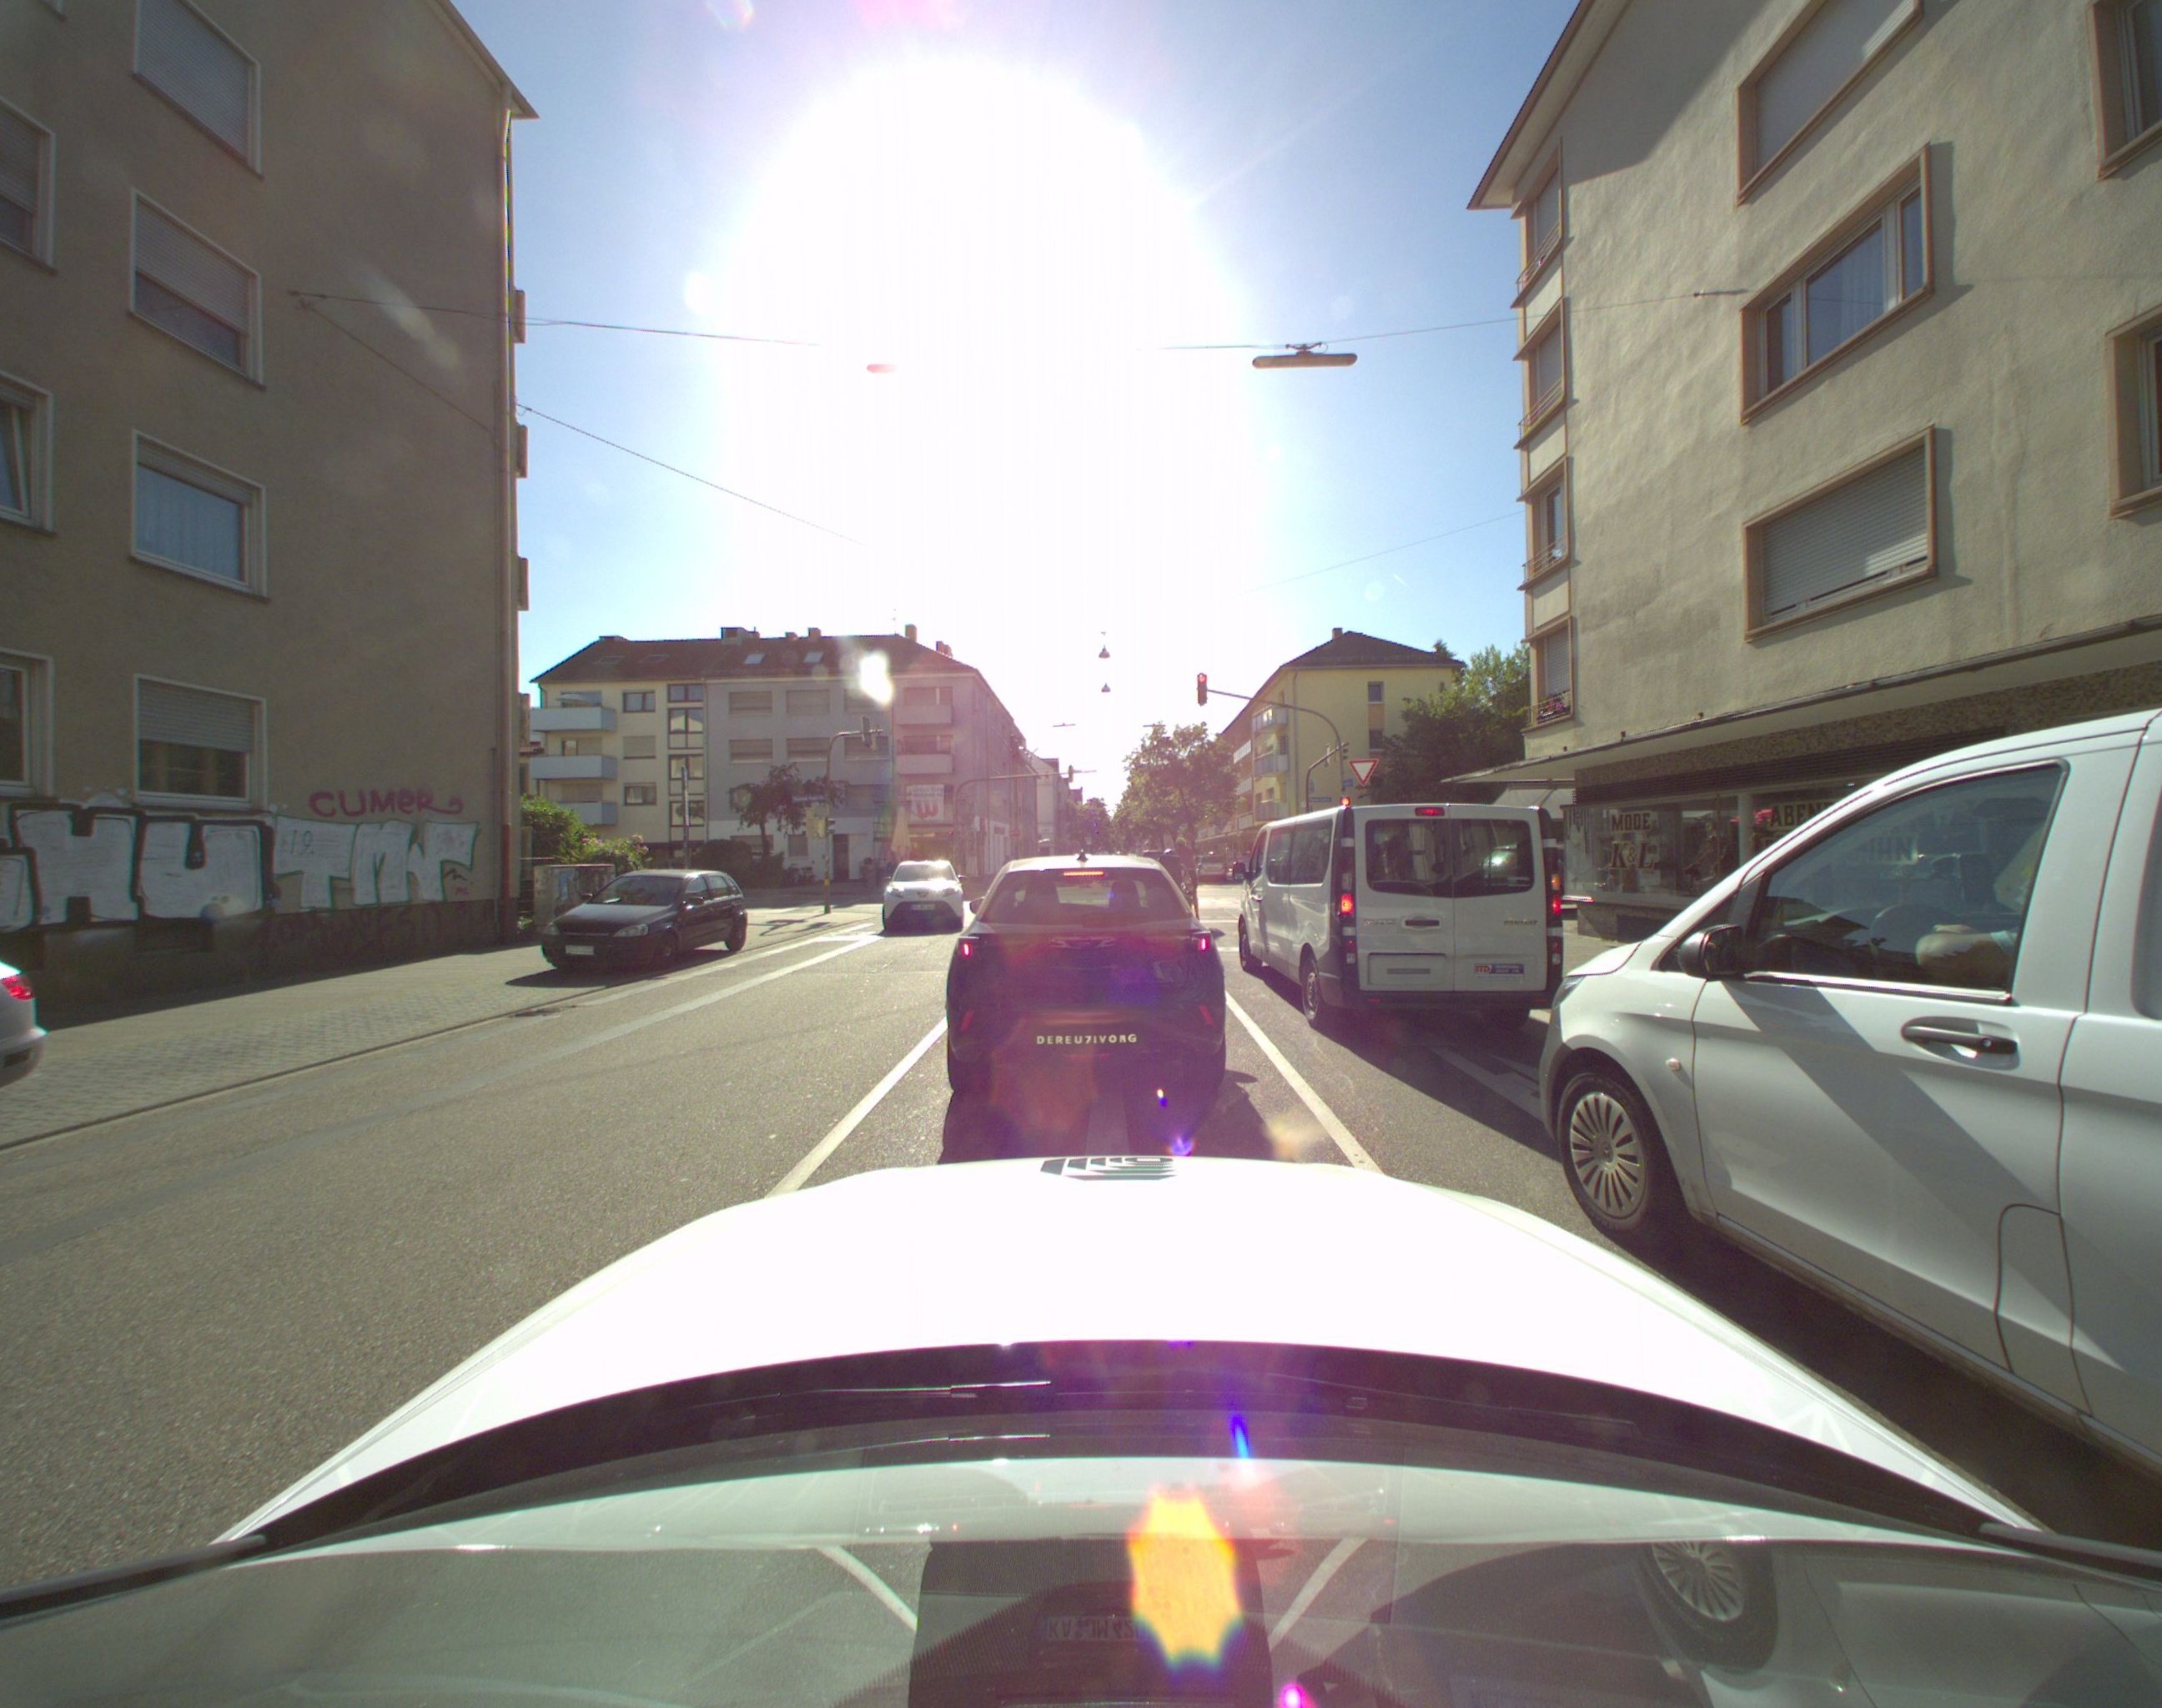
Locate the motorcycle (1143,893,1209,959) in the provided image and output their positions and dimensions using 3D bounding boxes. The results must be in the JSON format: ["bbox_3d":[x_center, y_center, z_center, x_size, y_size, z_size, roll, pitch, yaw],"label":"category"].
[{"bbox_3d":[1.419,1.067,12.507,0.822,0.845,1.885,-1,0,1],"label":"motorcycle"}]

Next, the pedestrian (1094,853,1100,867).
[{"bbox_3d":[1.931,0.764,100.363,0.566,1.690,0.590,-2,0,13],"label":"pedestrian"}]

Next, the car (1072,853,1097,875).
[{"bbox_3d":[0.282,0.781,67.307,1.817,1.728,4.004,-1,0,3],"label":"car"}]

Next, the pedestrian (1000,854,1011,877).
[{"bbox_3d":[-5.040,0.750,54.326,0.615,1.521,0.724,-1,0,-1],"label":"pedestrian"}]

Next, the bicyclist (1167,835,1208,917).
[{"bbox_3d":[2.316,0.467,17.877,0.687,1.712,1.414,-1,0,0],"label":"bicyclist"}]

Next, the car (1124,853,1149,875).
[{"bbox_3d":[4.551,0.776,67.201,1.894,1.728,4.003,-1,0,2],"label":"car"}]

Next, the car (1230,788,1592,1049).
[{"bbox_3d":[2.990,0.498,8.724,1.986,1.979,4.896,1,0,1],"label":"car"}]

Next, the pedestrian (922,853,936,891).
[{"bbox_3d":[-7.224,0.859,38.731,0.560,1.775,0.582,-1,0,-7],"label":"pedestrian"}]

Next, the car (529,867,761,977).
[{"bbox_3d":[-6.732,0.959,13.060,1.610,1.425,3.711,1,0,1],"label":"car"}]

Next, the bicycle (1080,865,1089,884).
[{"bbox_3d":[0.183,1.091,44.355,0.442,0.992,2.068,-1,0,0],"label":"bicycle"}]

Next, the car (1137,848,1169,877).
[{"bbox_3d":[4.477,0.524,51.047,1.894,1.728,4.077,-1,0,4],"label":"car"}]

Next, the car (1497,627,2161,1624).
[{"bbox_3d":[2.929,0.495,1.449,1.830,1.869,4.996,-1,0,0],"label":"car"}]

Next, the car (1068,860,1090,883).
[{"bbox_3d":[-0.154,1.536,72.995,1.842,2.013,4.001,-1,0,1],"label":"car"}]

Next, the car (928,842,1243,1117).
[{"bbox_3d":[0.033,0.714,6.648,1.765,1.530,3.999,-1,0,0],"label":"car"}]

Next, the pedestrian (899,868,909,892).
[{"bbox_3d":[-8.275,1.226,38.033,0.354,1.092,0.461,-1,0,-1],"label":"pedestrian"}]

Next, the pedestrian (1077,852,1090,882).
[{"bbox_3d":[0.132,0.703,44.190,0.678,1.606,0.762,-1,0,0],"label":"pedestrian"}]

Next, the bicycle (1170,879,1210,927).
[{"bbox_3d":[2.366,1.042,17.914,0.575,0.904,2.301,-1,0,0],"label":"bicycle"}]

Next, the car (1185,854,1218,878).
[{"bbox_3d":[7.666,0.736,52.191,1.628,1.433,4.002,-1,0,2],"label":"car"}]

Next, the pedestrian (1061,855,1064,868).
[{"bbox_3d":[-2.550,1.029,111.624,0.400,1.675,0.418,-1,0,1],"label":"pedestrian"}]

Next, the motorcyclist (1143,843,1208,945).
[{"bbox_3d":[1.447,0.597,12.642,0.861,1.502,1.160,-1,0,1],"label":"motorcyclist"}]

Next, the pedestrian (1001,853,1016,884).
[{"bbox_3d":[-3.918,0.774,44.165,0.704,1.678,0.802,-1,0,0],"label":"pedestrian"}]

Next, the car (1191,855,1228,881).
[{"bbox_3d":[7.437,0.770,47.435,1.628,1.433,3.958,-1,0,2],"label":"car"}]

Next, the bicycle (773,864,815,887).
[{"bbox_3d":[-15.338,1.155,43.538,2.103,1.172,0.735,-1,0,-22],"label":"bicycle"}]

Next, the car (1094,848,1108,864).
[{"bbox_3d":[2.699,0.227,108.136,1.848,2.013,3.882,-1,0,2],"label":"car"}]

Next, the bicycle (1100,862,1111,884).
[{"bbox_3d":[1.331,1.017,44.004,0.520,1.147,2.170,-1,0,0],"label":"bicycle"}]

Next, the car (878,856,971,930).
[{"bbox_3d":[-3.573,0.837,19.217,1.763,1.536,3.778,-1,0,-6],"label":"car"}]

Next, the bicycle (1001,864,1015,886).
[{"bbox_3d":[-3.971,1.141,44.392,0.520,1.147,2.283,-1,0,0],"label":"bicycle"}]

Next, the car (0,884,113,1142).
[{"bbox_3d":[-7.144,0.921,2.825,1.711,1.465,4.816,1,0,1],"label":"car"}]

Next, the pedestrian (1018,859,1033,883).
[{"bbox_3d":[-2.989,0.930,44.028,0.704,1.253,0.802,-1,0,0],"label":"pedestrian"}]

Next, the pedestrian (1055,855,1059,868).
[{"bbox_3d":[-3.292,1.028,111.968,0.400,1.675,0.418,-1,0,1],"label":"pedestrian"}]

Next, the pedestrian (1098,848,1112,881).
[{"bbox_3d":[1.314,0.561,43.955,0.704,1.701,0.802,-1,0,0],"label":"pedestrian"}]

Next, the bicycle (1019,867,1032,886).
[{"bbox_3d":[-2.998,1.214,44.421,0.520,0.992,2.339,-1,0,0],"label":"bicycle"}]

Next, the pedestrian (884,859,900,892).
[{"bbox_3d":[-8.844,0.981,38.063,0.582,1.521,0.649,-1,0,-1],"label":"pedestrian"}]
